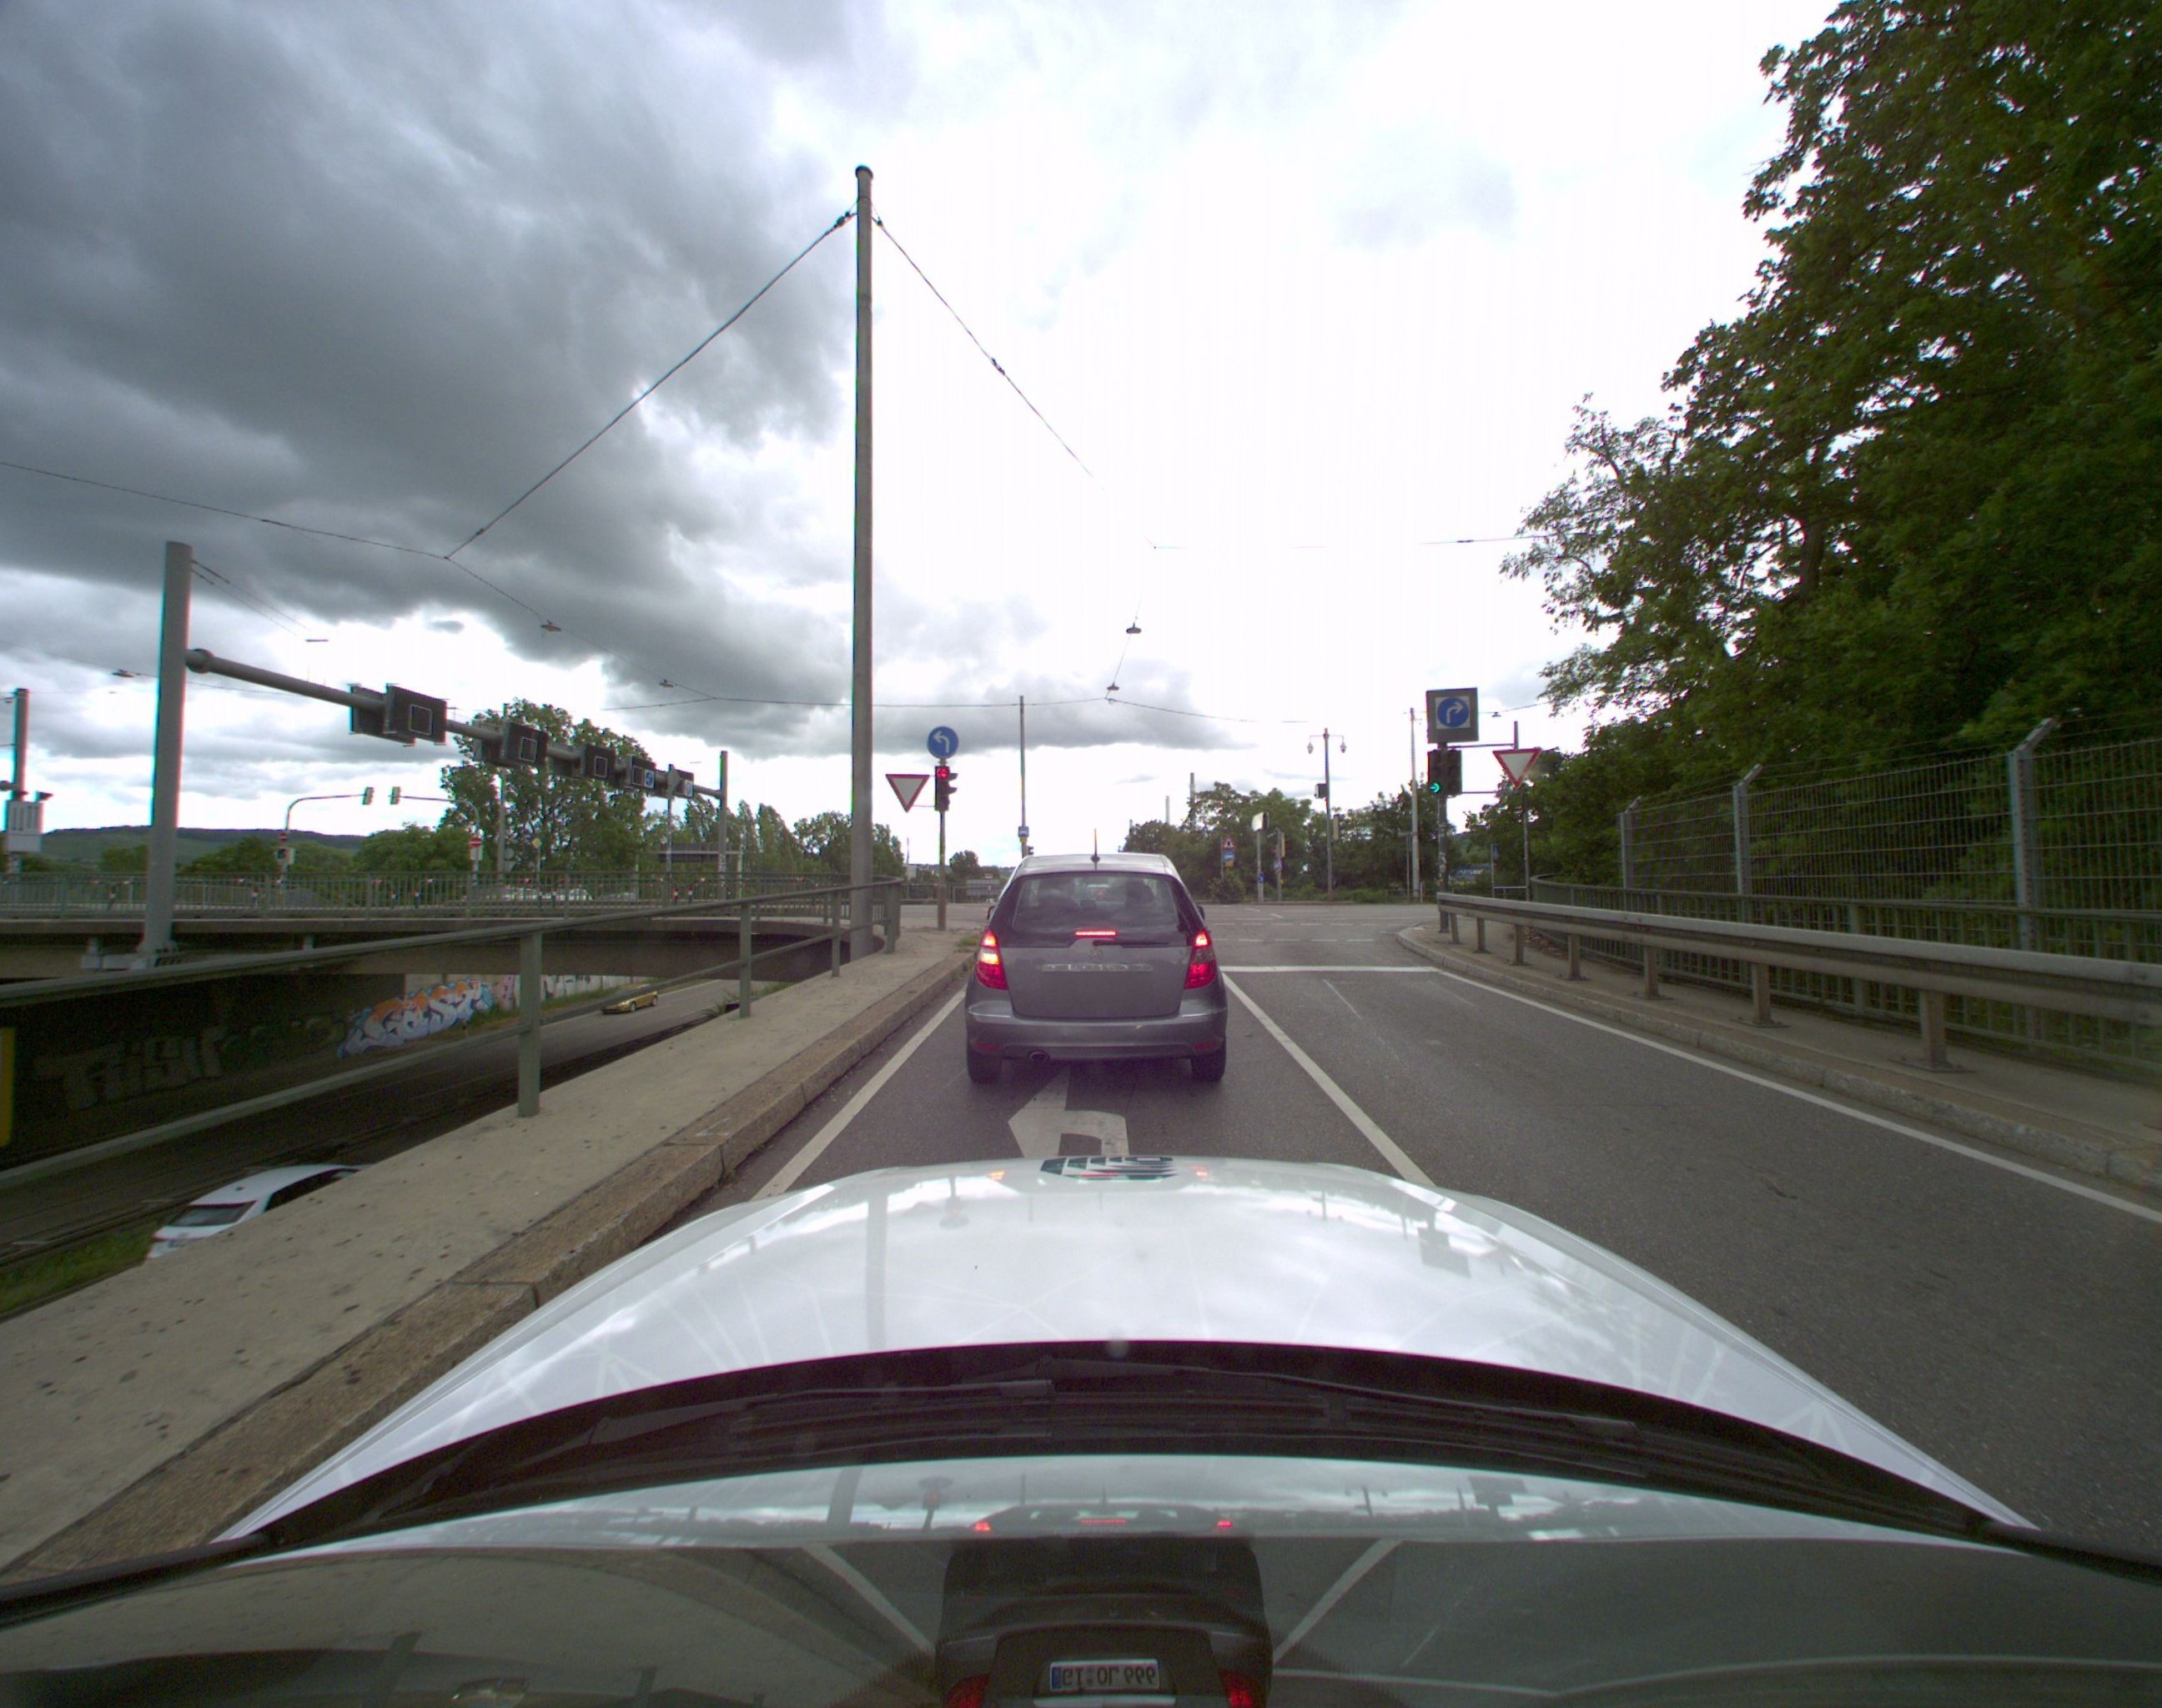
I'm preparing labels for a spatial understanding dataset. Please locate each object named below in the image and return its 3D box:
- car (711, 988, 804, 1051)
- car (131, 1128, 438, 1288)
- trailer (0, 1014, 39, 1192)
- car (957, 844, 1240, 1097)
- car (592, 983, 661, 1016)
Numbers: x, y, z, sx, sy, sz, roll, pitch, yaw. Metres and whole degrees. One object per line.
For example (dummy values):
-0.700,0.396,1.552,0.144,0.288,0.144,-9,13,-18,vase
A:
-14.868,7.594,37.822,1.985,2.014,5.257,-1,-3,3,car
-15.503,6.857,16.276,1.611,1.422,4.418,-2,-3,3,car
-28.608,5.968,14.029,3.228,4.263,13.684,-2,-3,2,trailer
0.166,0.733,6.786,1.733,1.543,3.542,0,-1,2,car
-28.132,9.002,50.554,1.861,1.457,4.154,-2,-3,2,car
